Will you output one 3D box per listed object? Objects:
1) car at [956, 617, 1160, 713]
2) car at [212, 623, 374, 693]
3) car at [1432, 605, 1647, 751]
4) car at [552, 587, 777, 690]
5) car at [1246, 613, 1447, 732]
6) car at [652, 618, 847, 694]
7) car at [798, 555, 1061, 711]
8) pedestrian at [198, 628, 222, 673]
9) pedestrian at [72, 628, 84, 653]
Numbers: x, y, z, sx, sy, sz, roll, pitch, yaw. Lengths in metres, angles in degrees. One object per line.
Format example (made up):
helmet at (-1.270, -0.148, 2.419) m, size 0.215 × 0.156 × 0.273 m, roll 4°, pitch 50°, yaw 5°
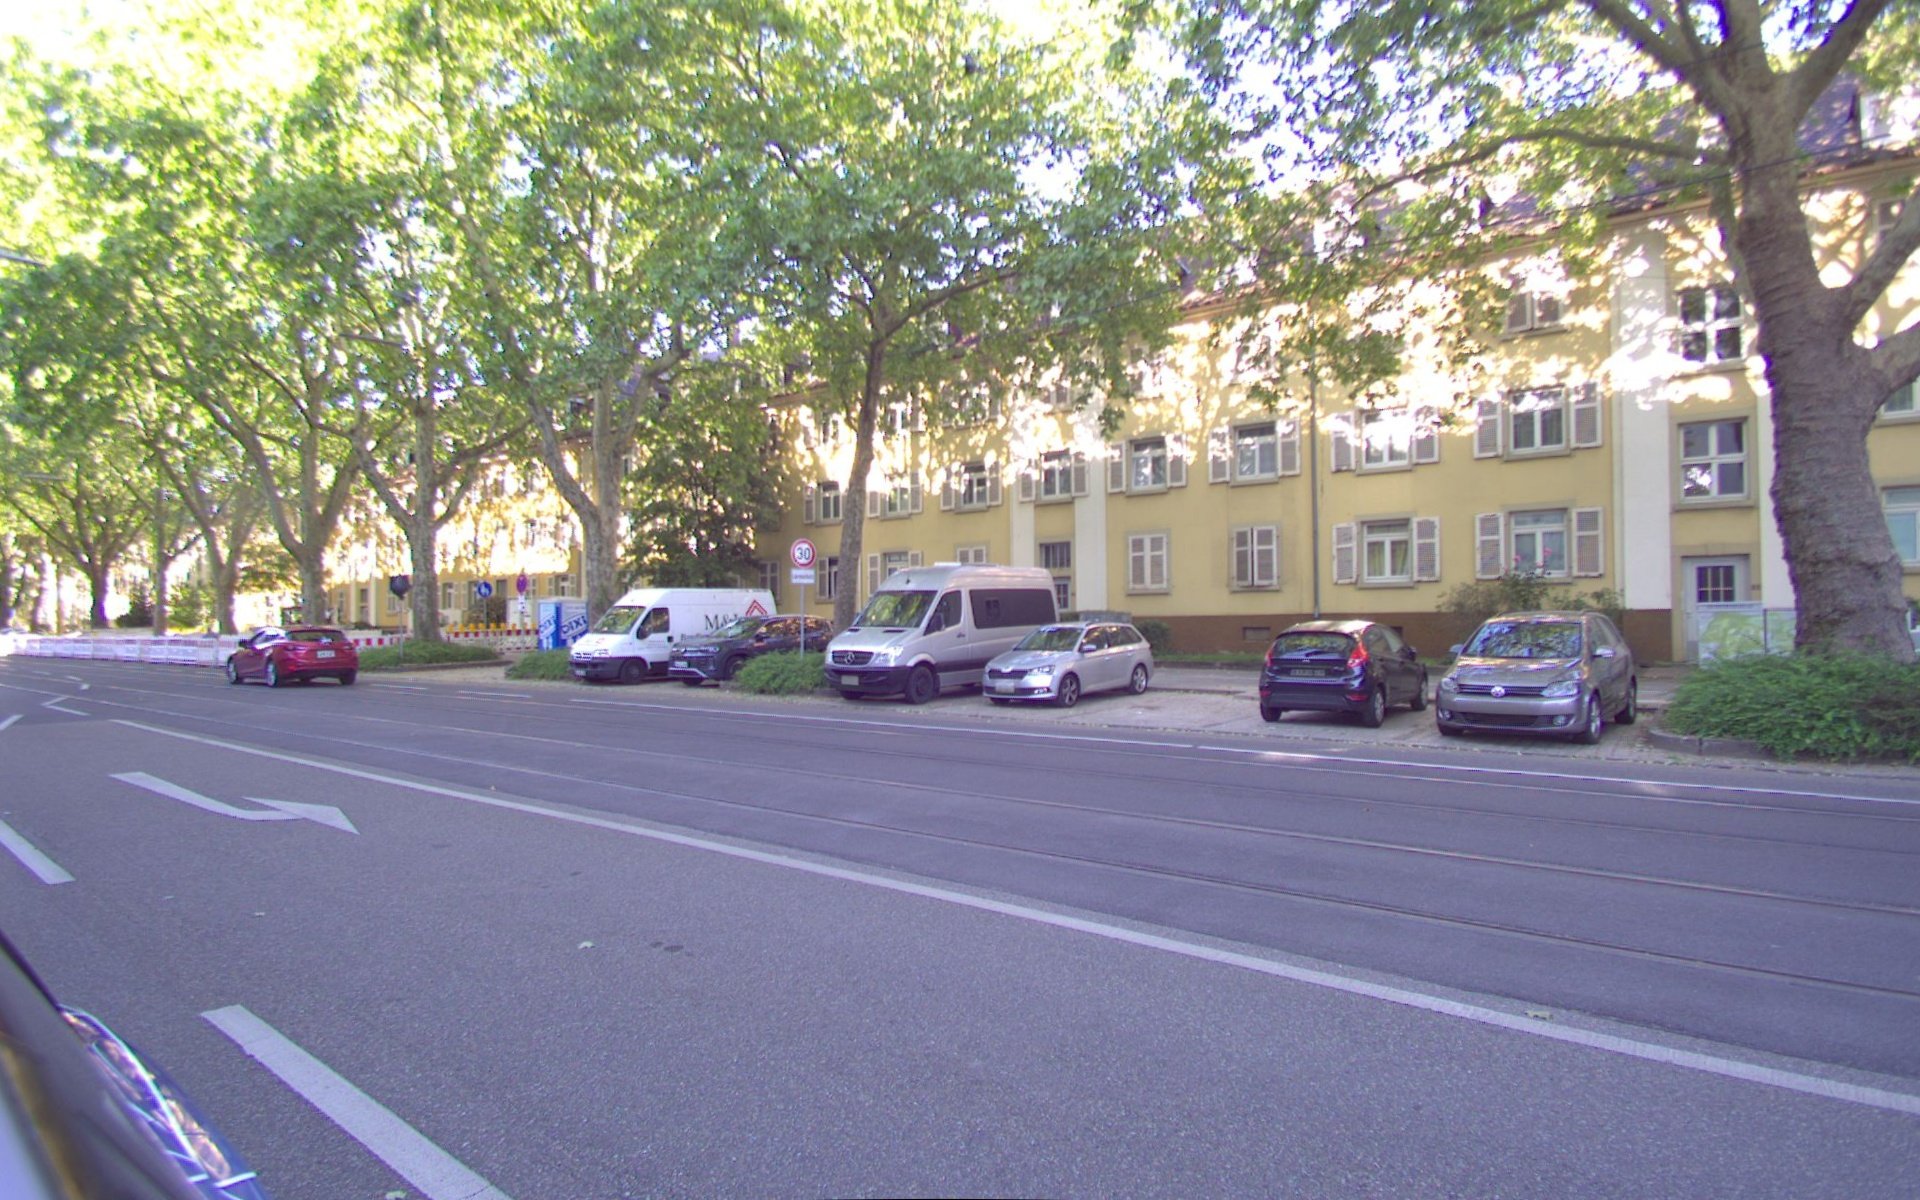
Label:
car at (1.920, 1.123, 18.833) m, size 1.773 × 1.509 × 4.031 m, roll -2°, pitch -1°, yaw 41°
car at (-16.584, 1.384, 25.106) m, size 4.484 × 1.577 × 1.997 m, roll -2°, pitch -2°, yaw 37°
car at (7.751, 0.899, 13.365) m, size 1.672 × 1.592 × 3.928 m, roll -2°, pitch -1°, yaw 42°
car at (-7.553, 0.966, 26.372) m, size 2.222 × 2.394 × 5.336 m, roll -2°, pitch -2°, yaw 40°
car at (5.974, 1.002, 15.416) m, size 1.671 × 1.509 × 3.756 m, roll -2°, pitch -1°, yaw 41°
car at (-4.970, 1.278, 24.446) m, size 1.772 × 1.664 × 4.570 m, roll -2°, pitch -2°, yaw 38°
car at (-0.419, 0.610, 20.445) m, size 2.221 × 2.702 × 5.596 m, roll -2°, pitch -1°, yaw 38°
pedestrian at (-29.704, 1.998, 40.072) m, size 0.583 × 1.759 × 0.643 m, roll -1°, pitch 0°, yaw 41°
pedestrian at (-67.817, 3.136, 77.813) m, size 0.722 × 1.900 × 0.666 m, roll -1°, pitch 0°, yaw -42°
